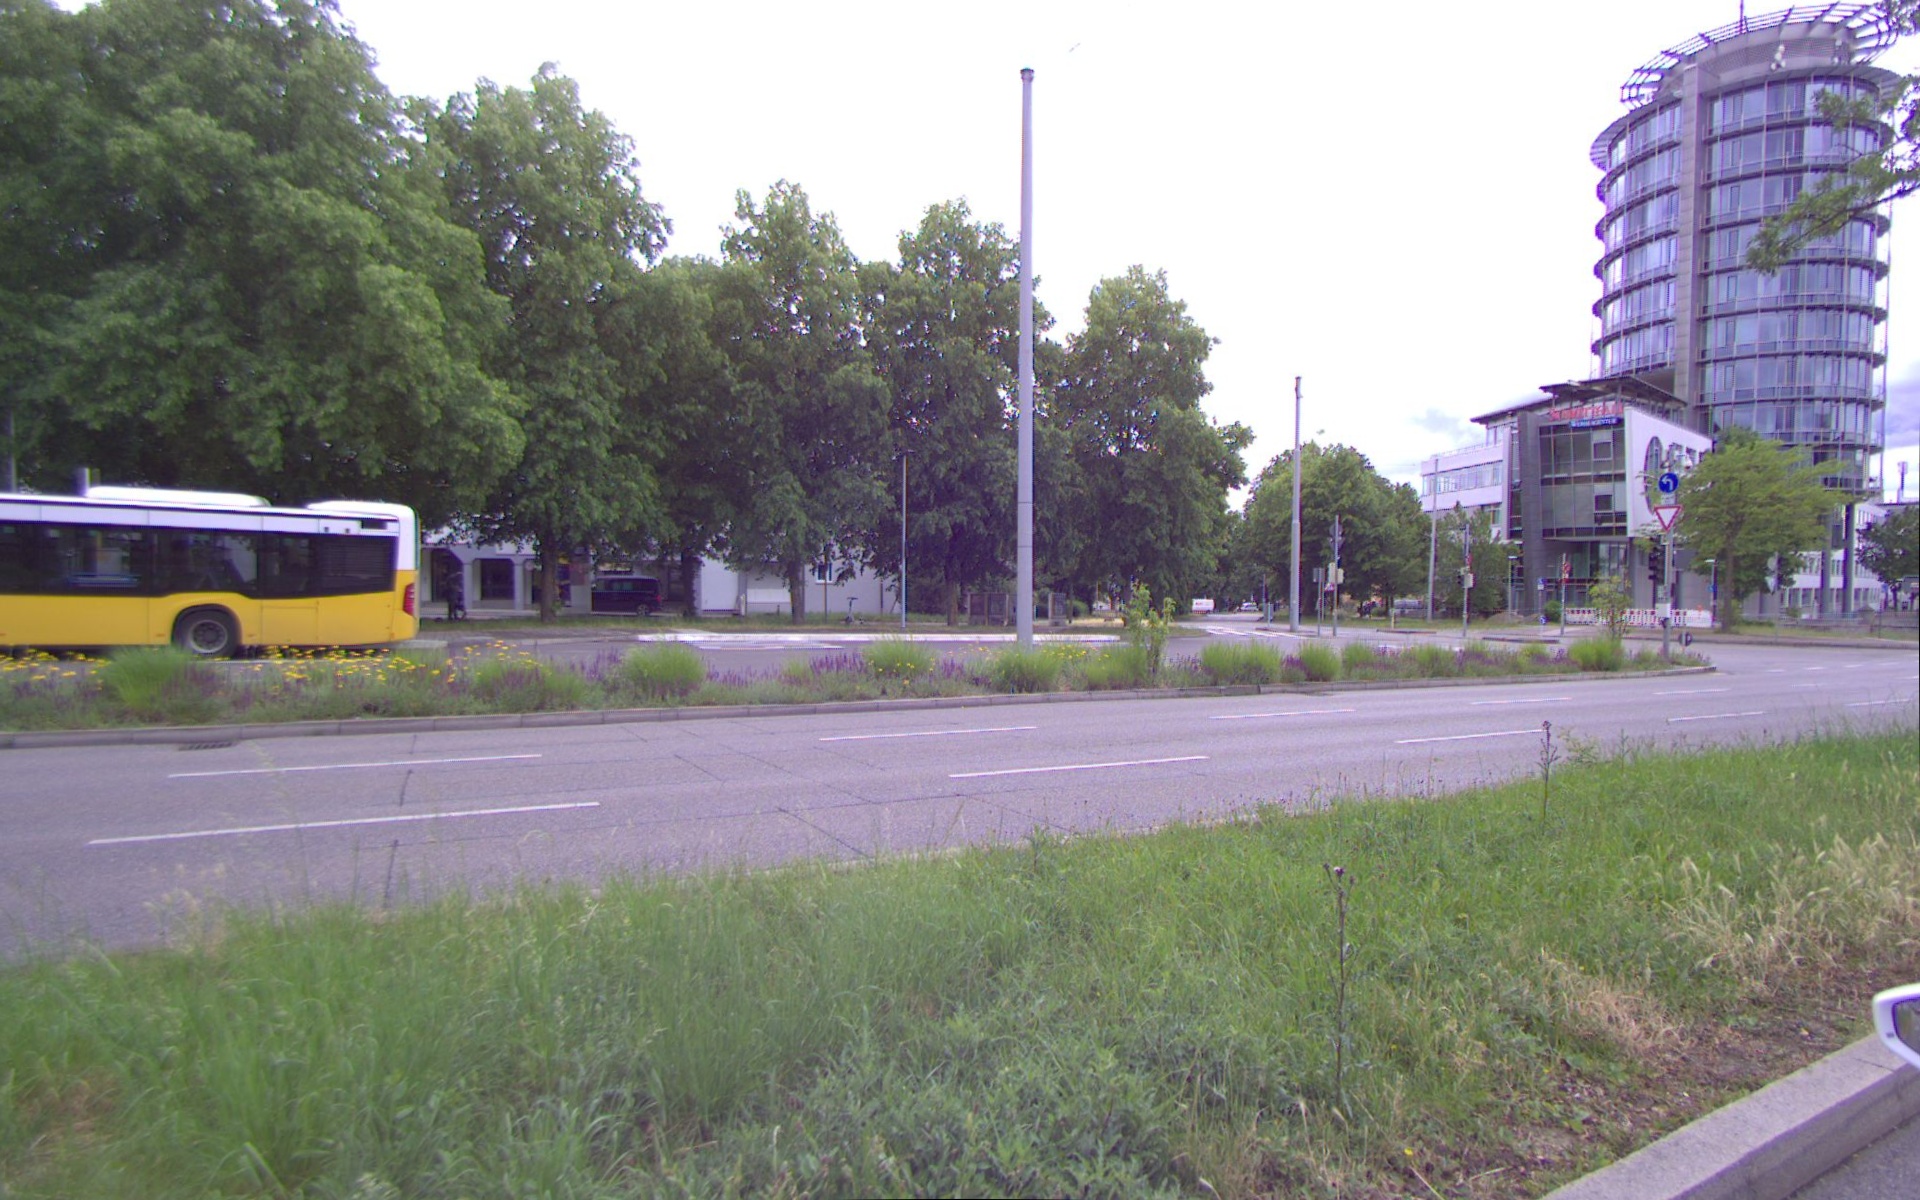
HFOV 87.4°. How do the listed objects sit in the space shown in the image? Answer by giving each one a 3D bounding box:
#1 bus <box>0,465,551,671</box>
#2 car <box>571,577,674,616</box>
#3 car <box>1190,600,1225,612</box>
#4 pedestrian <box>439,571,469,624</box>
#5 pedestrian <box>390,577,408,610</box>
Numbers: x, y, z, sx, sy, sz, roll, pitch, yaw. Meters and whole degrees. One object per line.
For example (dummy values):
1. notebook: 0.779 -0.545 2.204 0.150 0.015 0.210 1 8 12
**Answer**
1. bus: -13.560 -0.541 20.122 9.780 3.502 3.020 1 2 -26
2. car: -16.793 -0.153 50.278 4.737 1.857 1.993 1 0 -16
3. car: 44.033 1.102 178.786 5.882 2.040 1.994 1 0 -14
4. pedestrian: -16.689 -0.079 33.105 0.848 1.711 0.453 1 1 -31
5. pedestrian: -27.135 -0.306 48.625 0.658 1.568 0.655 1 1 -22
